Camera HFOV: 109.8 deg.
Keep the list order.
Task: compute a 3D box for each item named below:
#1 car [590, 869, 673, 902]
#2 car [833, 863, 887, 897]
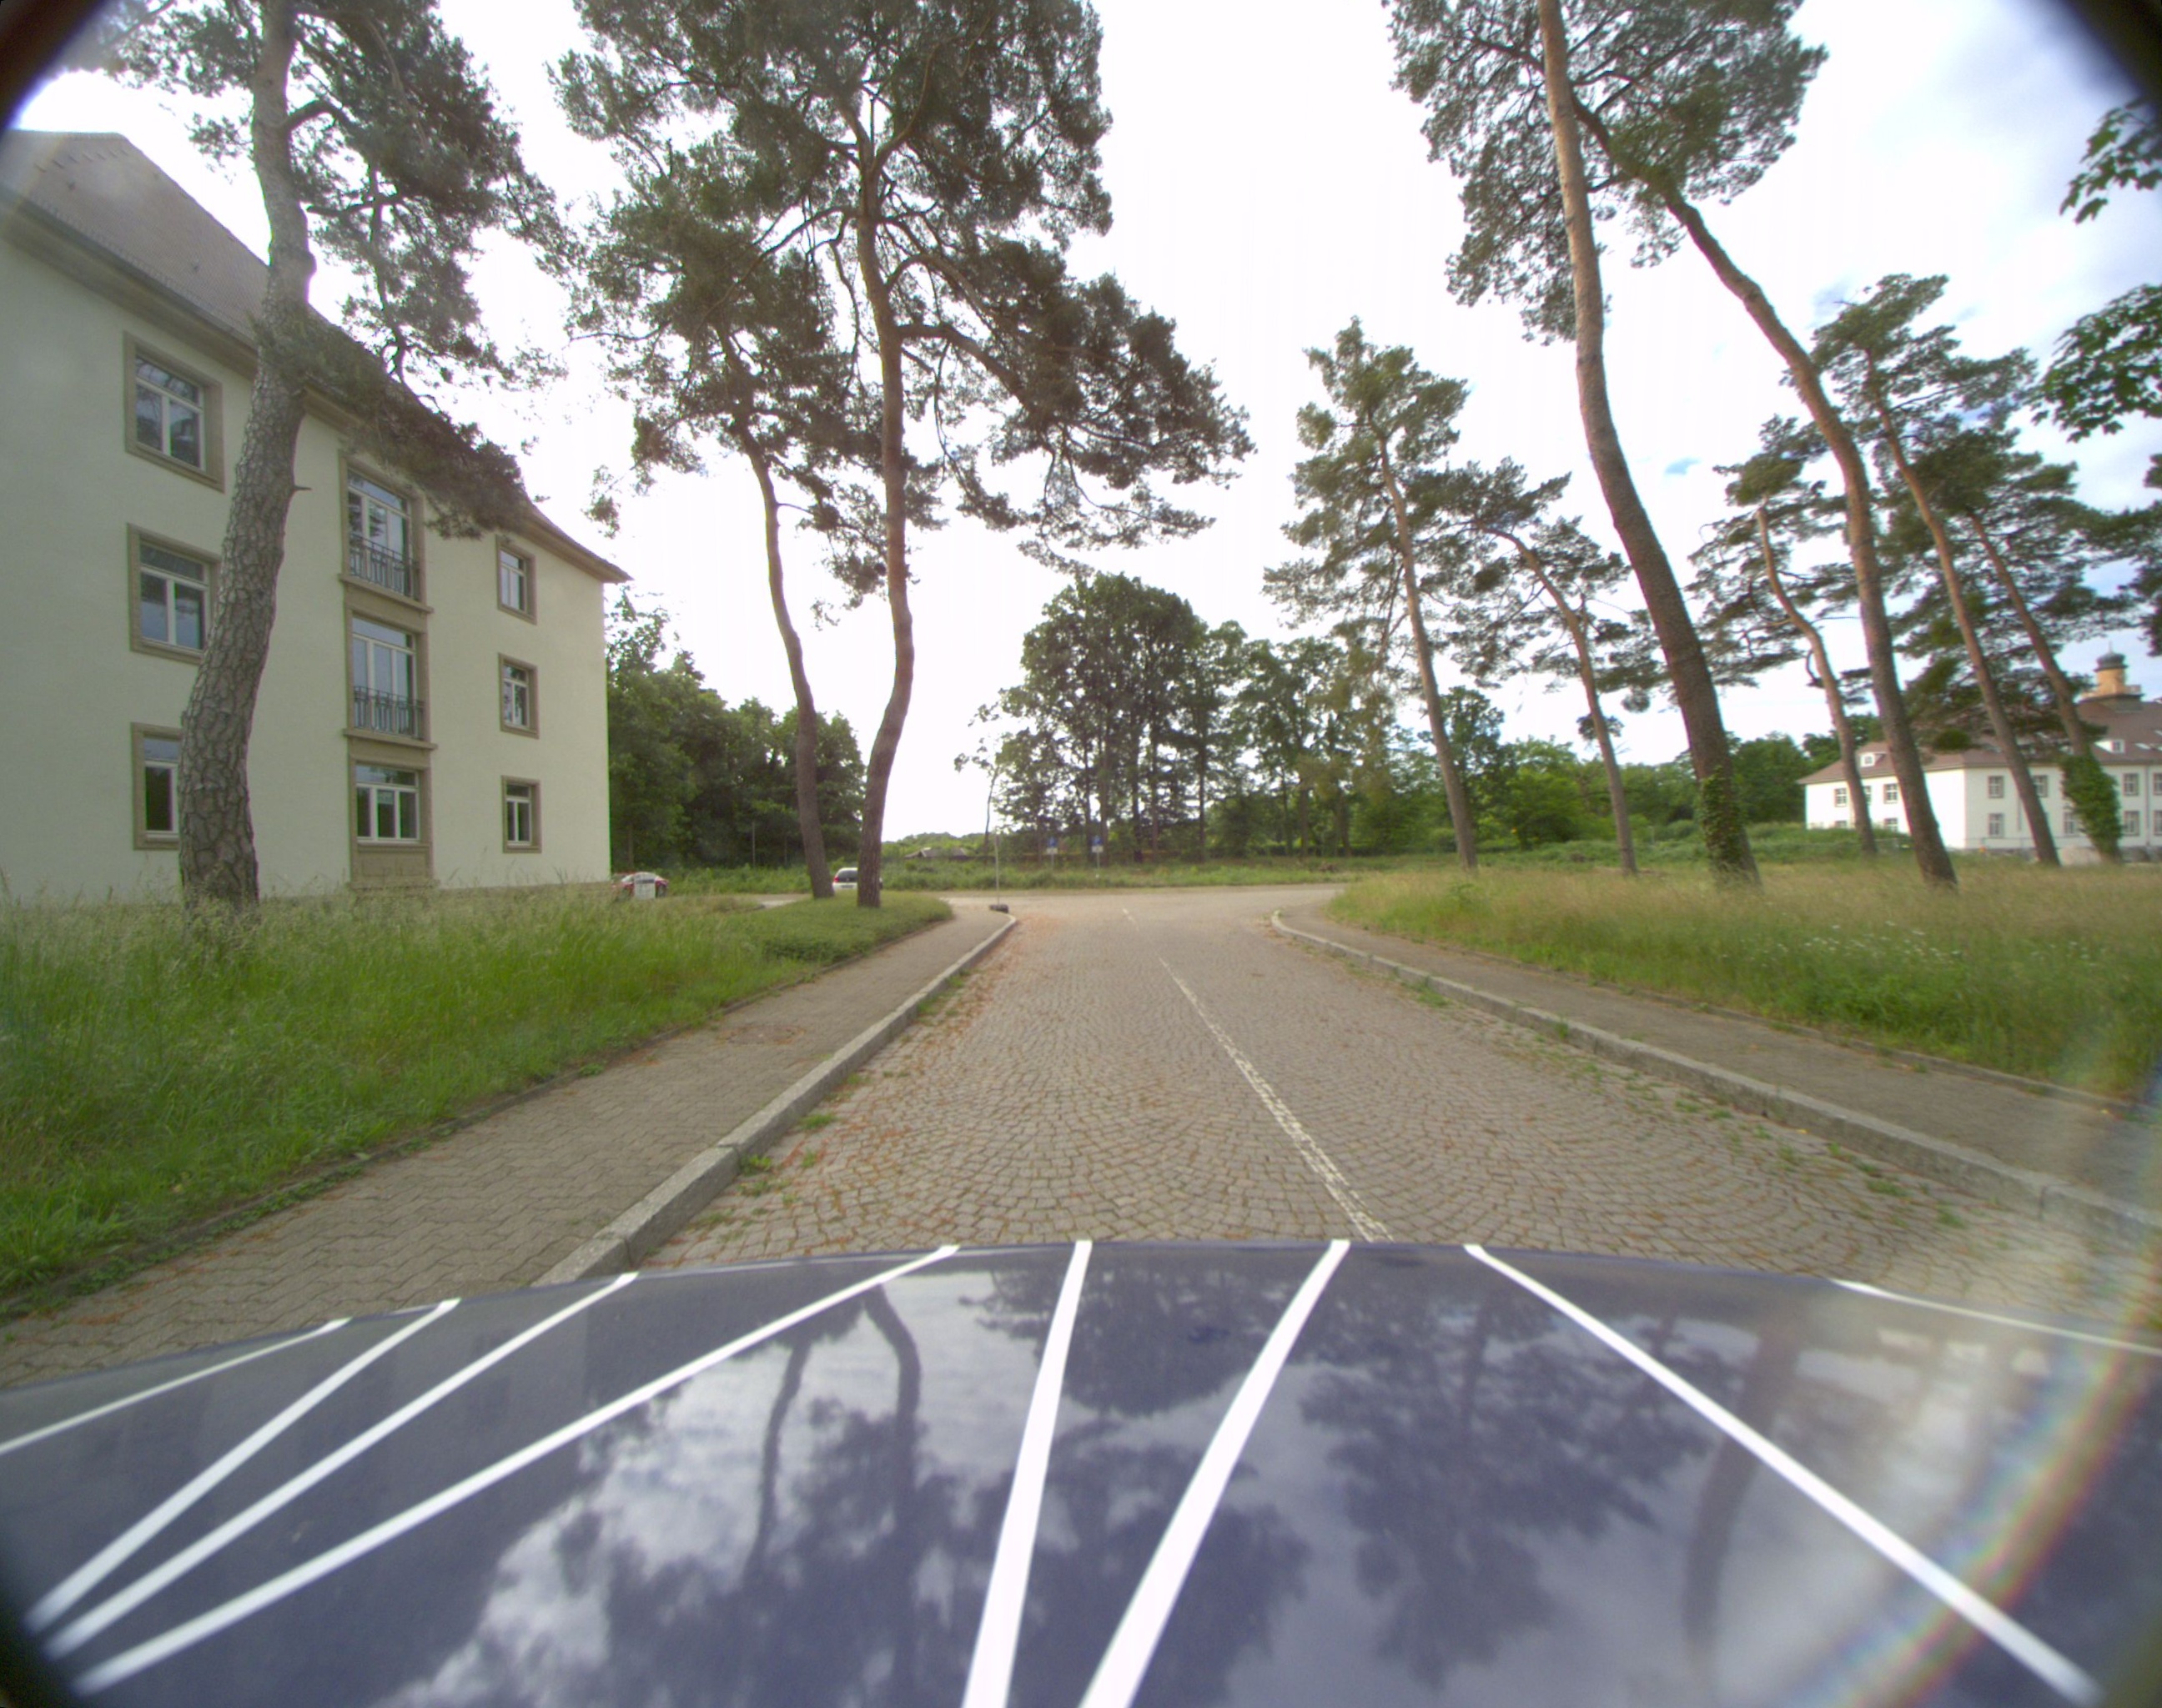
[{"bbox_3d":[-22.351,1.537,37.958,1.641,1.321,3.999,-1,2,1],"label":"car"},{"bbox_3d":[-11.046,1.270,38.149,1.641,1.426,3.277,-1,2,1],"label":"car"}]
